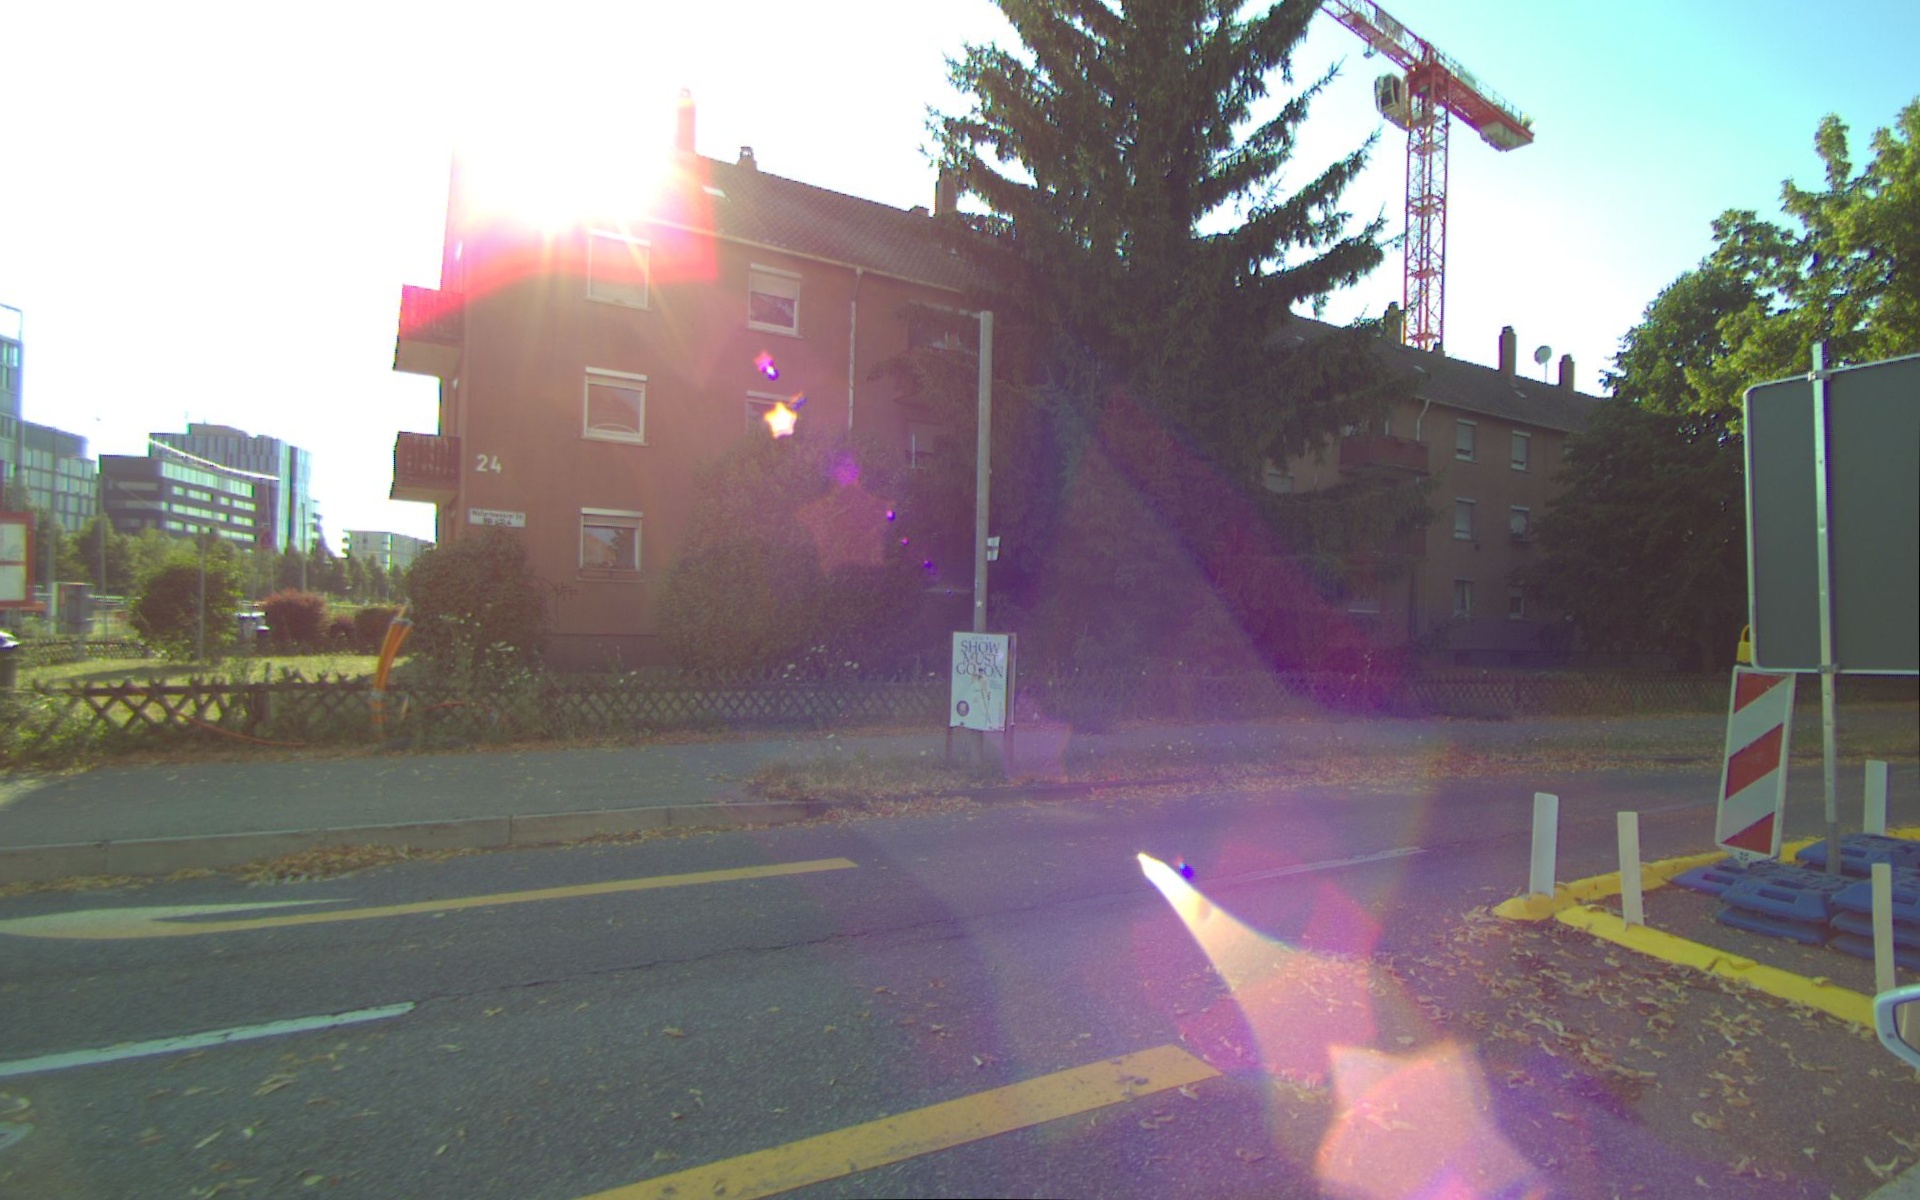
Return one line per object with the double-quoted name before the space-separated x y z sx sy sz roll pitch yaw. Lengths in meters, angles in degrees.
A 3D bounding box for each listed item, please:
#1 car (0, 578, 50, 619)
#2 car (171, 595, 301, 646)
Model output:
"car" -58.851 -0.102 60.995 2.489 2.472 5.924 2 -2 -10
"car" -24.044 0.690 33.558 1.965 1.572 3.992 2 -2 -11
